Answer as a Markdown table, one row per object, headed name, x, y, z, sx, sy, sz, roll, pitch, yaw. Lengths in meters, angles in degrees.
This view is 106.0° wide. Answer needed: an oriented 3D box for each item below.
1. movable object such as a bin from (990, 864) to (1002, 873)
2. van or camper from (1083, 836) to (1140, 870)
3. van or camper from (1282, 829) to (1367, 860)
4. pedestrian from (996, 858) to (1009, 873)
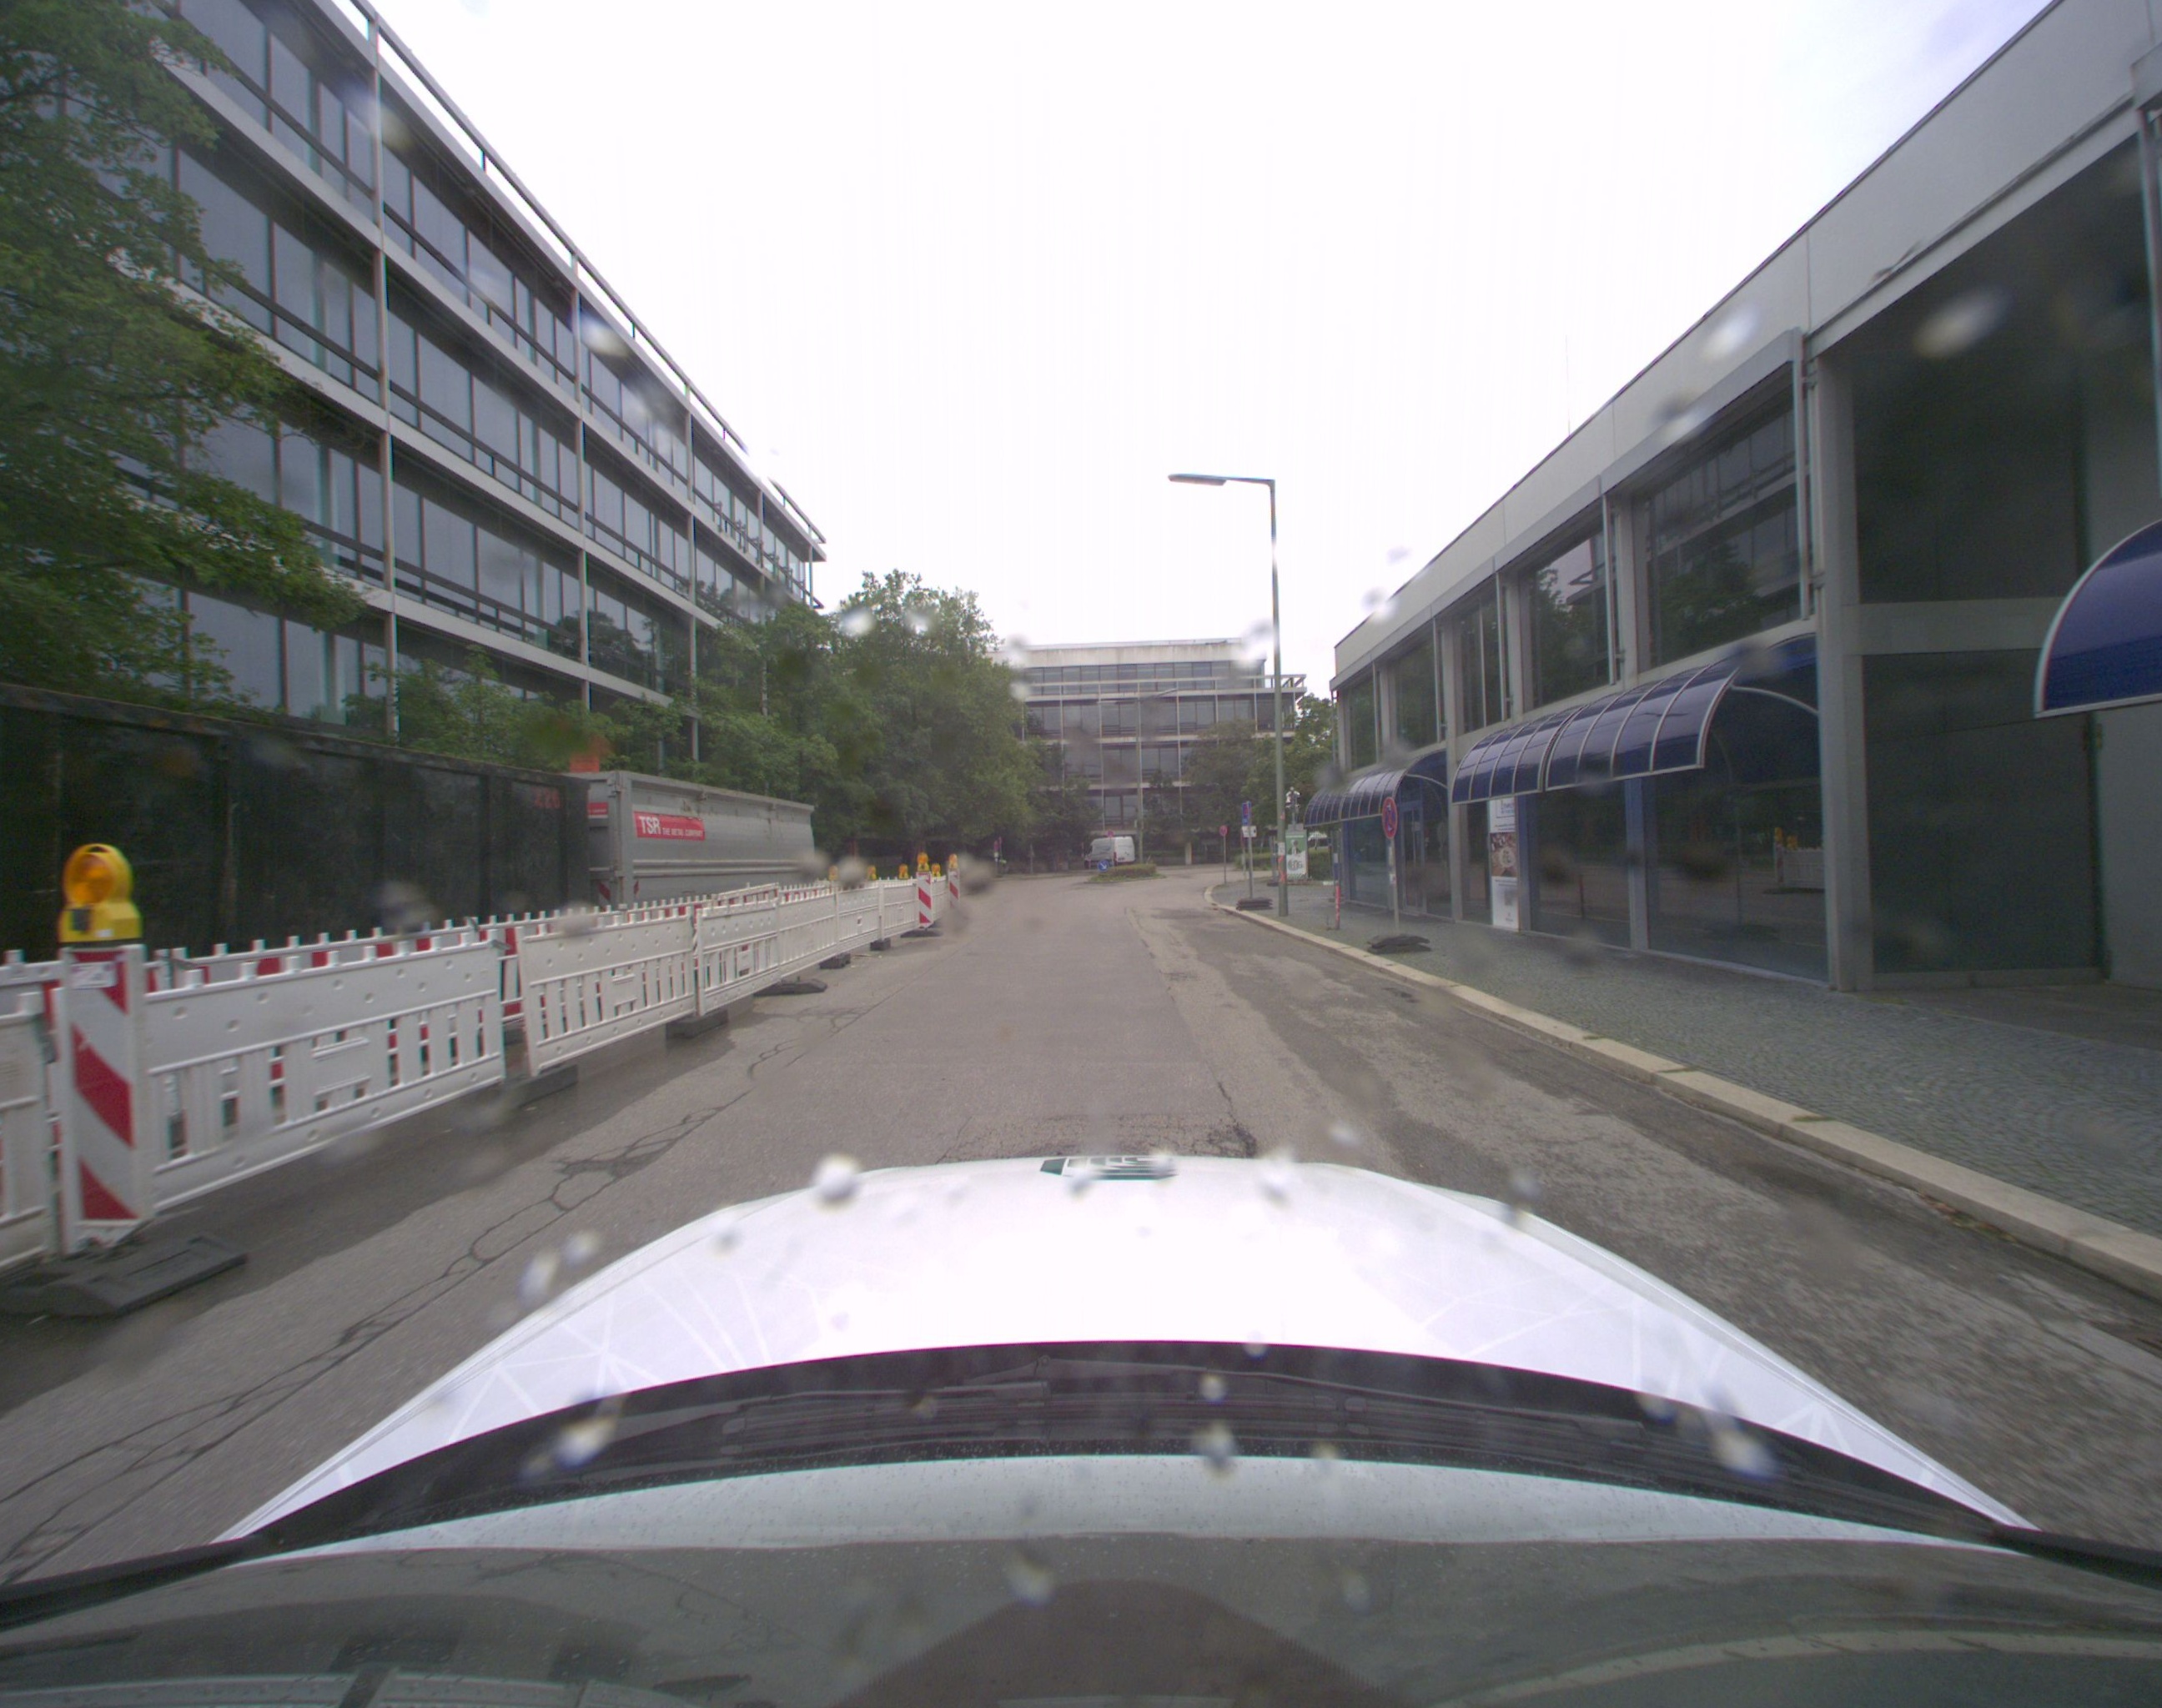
| name | x | y | z | sx | sy | sz | roll | pitch | yaw |
| --- | --- | --- | --- | --- | --- | --- | --- | --- | --- |
| movable object such as a bin | -7.121 | 1.235 | 68.181 | 0.831 | 0.753 | 0.573 | -1 | 0 | 4 |
| van or camper | 2.533 | -0.030 | 70.234 | 2.166 | 2.581 | 6.486 | -1 | -2 | -24 |
| van or camper | 20.018 | -0.787 | 67.007 | 6.404 | 2.281 | 2.245 | -2 | 0 | -13 |
| pedestrian | -6.561 | 0.972 | 68.211 | 0.922 | 1.278 | 0.542 | -1 | 0 | 3 |
